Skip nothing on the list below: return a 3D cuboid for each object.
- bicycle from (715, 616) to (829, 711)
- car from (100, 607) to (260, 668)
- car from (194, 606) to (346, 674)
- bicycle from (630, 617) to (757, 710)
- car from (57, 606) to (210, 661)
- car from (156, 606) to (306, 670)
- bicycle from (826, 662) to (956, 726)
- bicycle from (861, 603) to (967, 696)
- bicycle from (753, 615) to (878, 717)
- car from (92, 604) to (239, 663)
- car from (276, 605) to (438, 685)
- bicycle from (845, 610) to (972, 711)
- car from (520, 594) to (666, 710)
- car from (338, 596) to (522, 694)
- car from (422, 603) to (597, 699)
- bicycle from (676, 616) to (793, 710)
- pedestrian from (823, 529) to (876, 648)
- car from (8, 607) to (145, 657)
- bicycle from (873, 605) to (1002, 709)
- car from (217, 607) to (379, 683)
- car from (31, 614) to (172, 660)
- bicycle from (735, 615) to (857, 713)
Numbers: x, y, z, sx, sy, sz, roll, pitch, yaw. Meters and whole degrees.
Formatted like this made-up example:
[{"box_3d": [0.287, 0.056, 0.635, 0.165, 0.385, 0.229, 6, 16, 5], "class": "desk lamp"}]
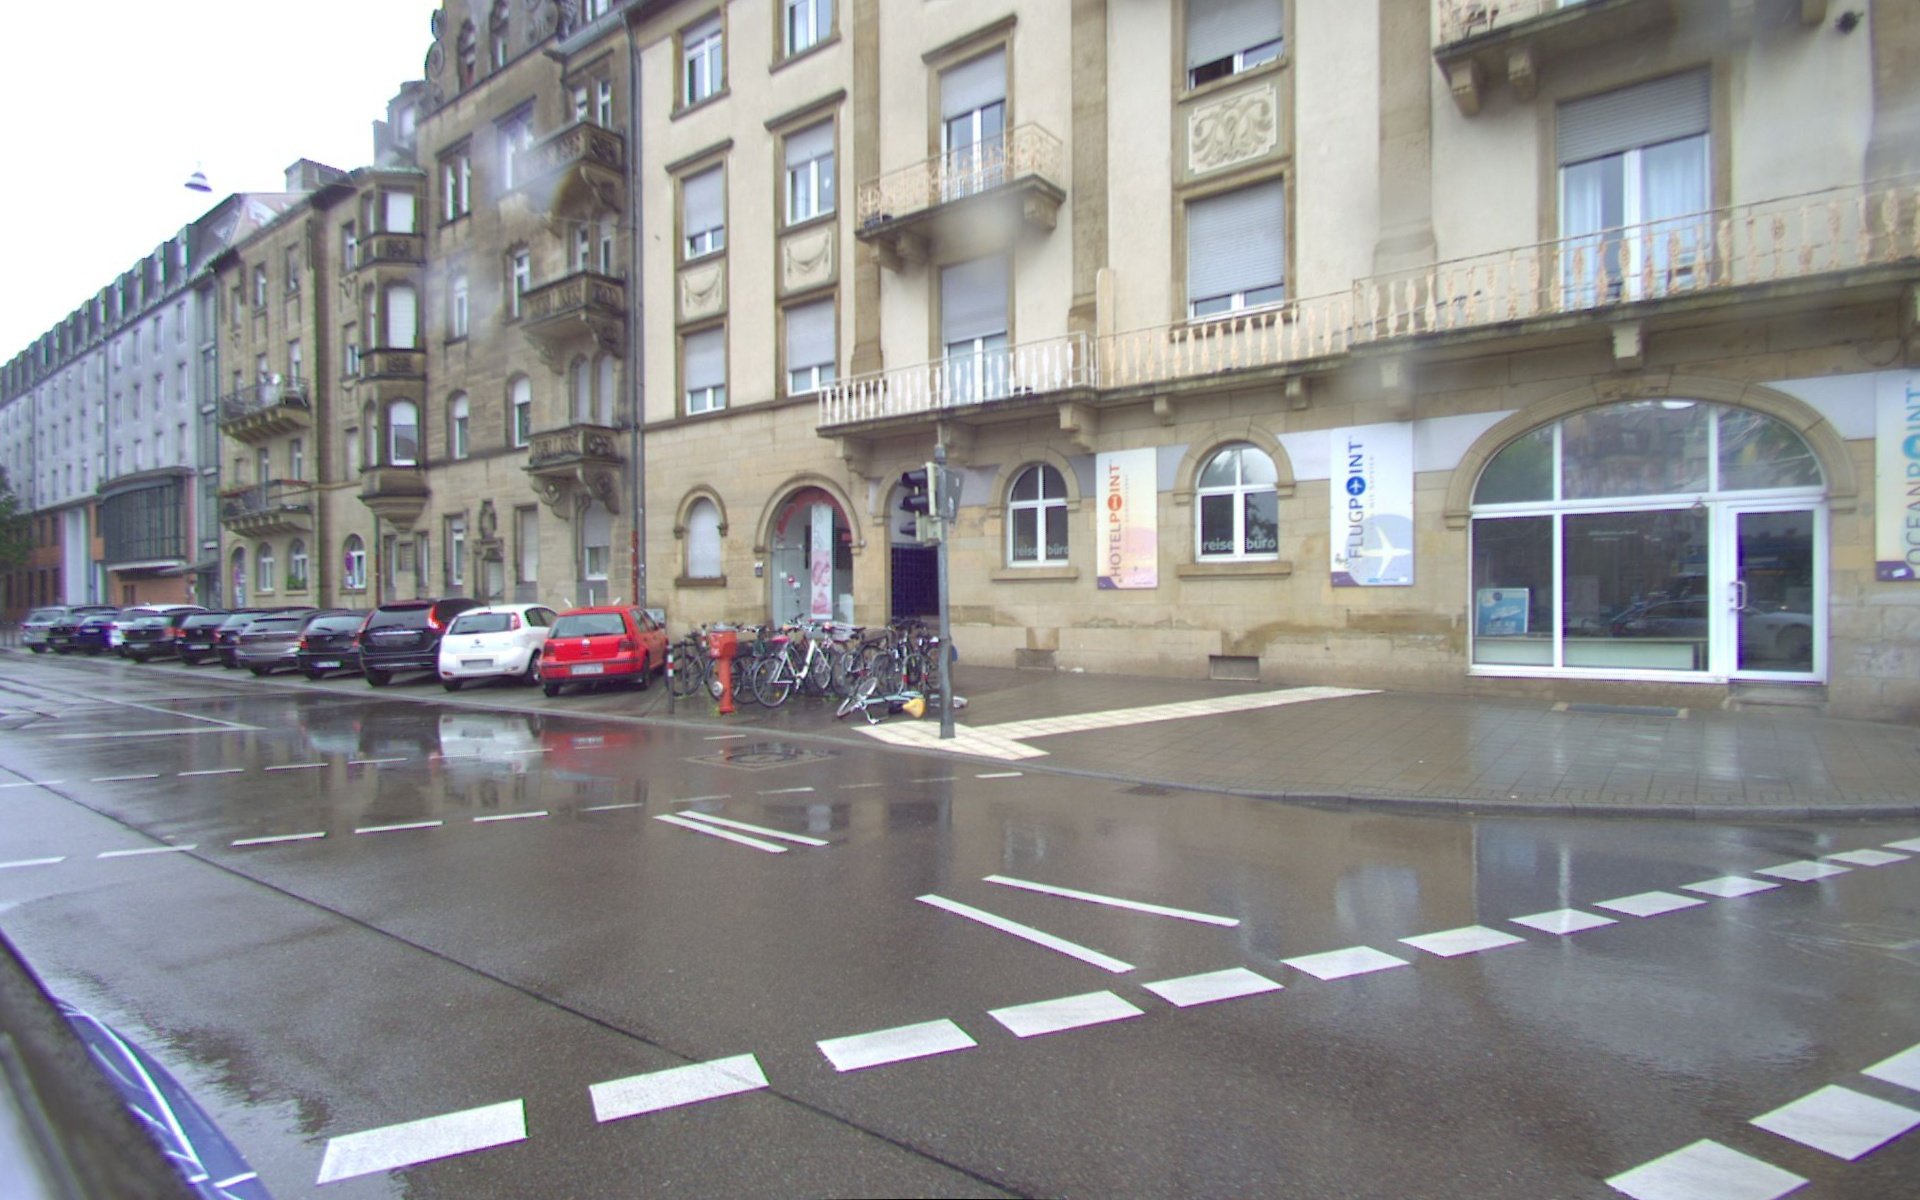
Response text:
[{"box_3d": [-2.756, 0.897, 15.009, 0.467, 1.193, 1.794, -1, 3, 36], "class": "bicycle"}, {"box_3d": [-23.152, 1.069, 30.213, 1.755, 1.555, 3.724, -2, 1, 3], "class": "car"}, {"box_3d": [-18.255, 1.012, 26.965, 1.606, 1.555, 3.442, -2, 1, 2], "class": "car"}, {"box_3d": [-4.092, 0.945, 15.641, 0.600, 1.193, 1.791, -1, 4, 43], "class": "bicycle"}, {"box_3d": [-27.767, 1.072, 34.164, 1.879, 1.538, 3.720, 0, 3, 7], "class": "car"}, {"box_3d": [-20.542, 1.021, 28.704, 1.605, 1.555, 3.761, -2, 1, -2], "class": "car"}, {"box_3d": [-0.844, 1.171, 12.760, 1.461, 0.668, 1.040, -1, 2, 8], "class": "bicycle"}, {"box_3d": [-0.686, 0.728, 15.876, 0.583, 1.356, 2.040, -1, -1, 33], "class": "bicycle"}, {"box_3d": [-2.017, 0.891, 14.348, 0.437, 1.340, 1.956, -1, -1, 40], "class": "bicycle"}, {"box_3d": [-25.448, 1.015, 32.571, 1.754, 1.639, 3.727, -2, 1, 0], "class": "car"}, {"box_3d": [-13.533, 0.948, 22.926, 1.677, 1.536, 3.311, -2, 1, 0], "class": "car"}, {"box_3d": [-0.712, 0.834, 14.970, 0.638, 1.356, 2.321, -1, -1, 33], "class": "bicycle"}, {"box_3d": [-6.353, 0.808, 17.963, 1.774, 1.519, 4.010, -4, 4, -11], "class": "car"}, {"box_3d": [-10.844, 0.844, 21.072, 1.739, 1.704, 4.087, -2, 1, -1], "class": "car"}, {"box_3d": [-8.596, 0.898, 19.696, 1.680, 1.545, 3.996, -2, 1, -1], "class": "car"}, {"box_3d": [-3.354, 0.909, 15.231, 0.474, 1.193, 1.794, -1, 4, 36], "class": "bicycle"}, {"box_3d": [-2.258, -0.234, 20.637, 0.834, 2.357, 0.766, 0, -1, -30], "class": "pedestrian"}, {"box_3d": [-32.496, 1.132, 37.376, 1.789, 1.743, 3.926, 0, -1, -3], "class": "car"}, {"box_3d": [-0.276, 0.756, 14.447, 0.638, 1.356, 2.321, -1, -1, 33], "class": "bicycle"}, {"box_3d": [-15.884, 1.019, 24.491, 1.677, 1.555, 3.431, -2, 1, -1], "class": "car"}, {"box_3d": [-30.026, 1.252, 35.537, 1.695, 1.539, 3.724, 0, -1, 3], "class": "car"}, {"box_3d": [-2.334, 0.881, 14.652, 0.474, 1.193, 1.963, -1, 3, 35], "class": "bicycle"}]
